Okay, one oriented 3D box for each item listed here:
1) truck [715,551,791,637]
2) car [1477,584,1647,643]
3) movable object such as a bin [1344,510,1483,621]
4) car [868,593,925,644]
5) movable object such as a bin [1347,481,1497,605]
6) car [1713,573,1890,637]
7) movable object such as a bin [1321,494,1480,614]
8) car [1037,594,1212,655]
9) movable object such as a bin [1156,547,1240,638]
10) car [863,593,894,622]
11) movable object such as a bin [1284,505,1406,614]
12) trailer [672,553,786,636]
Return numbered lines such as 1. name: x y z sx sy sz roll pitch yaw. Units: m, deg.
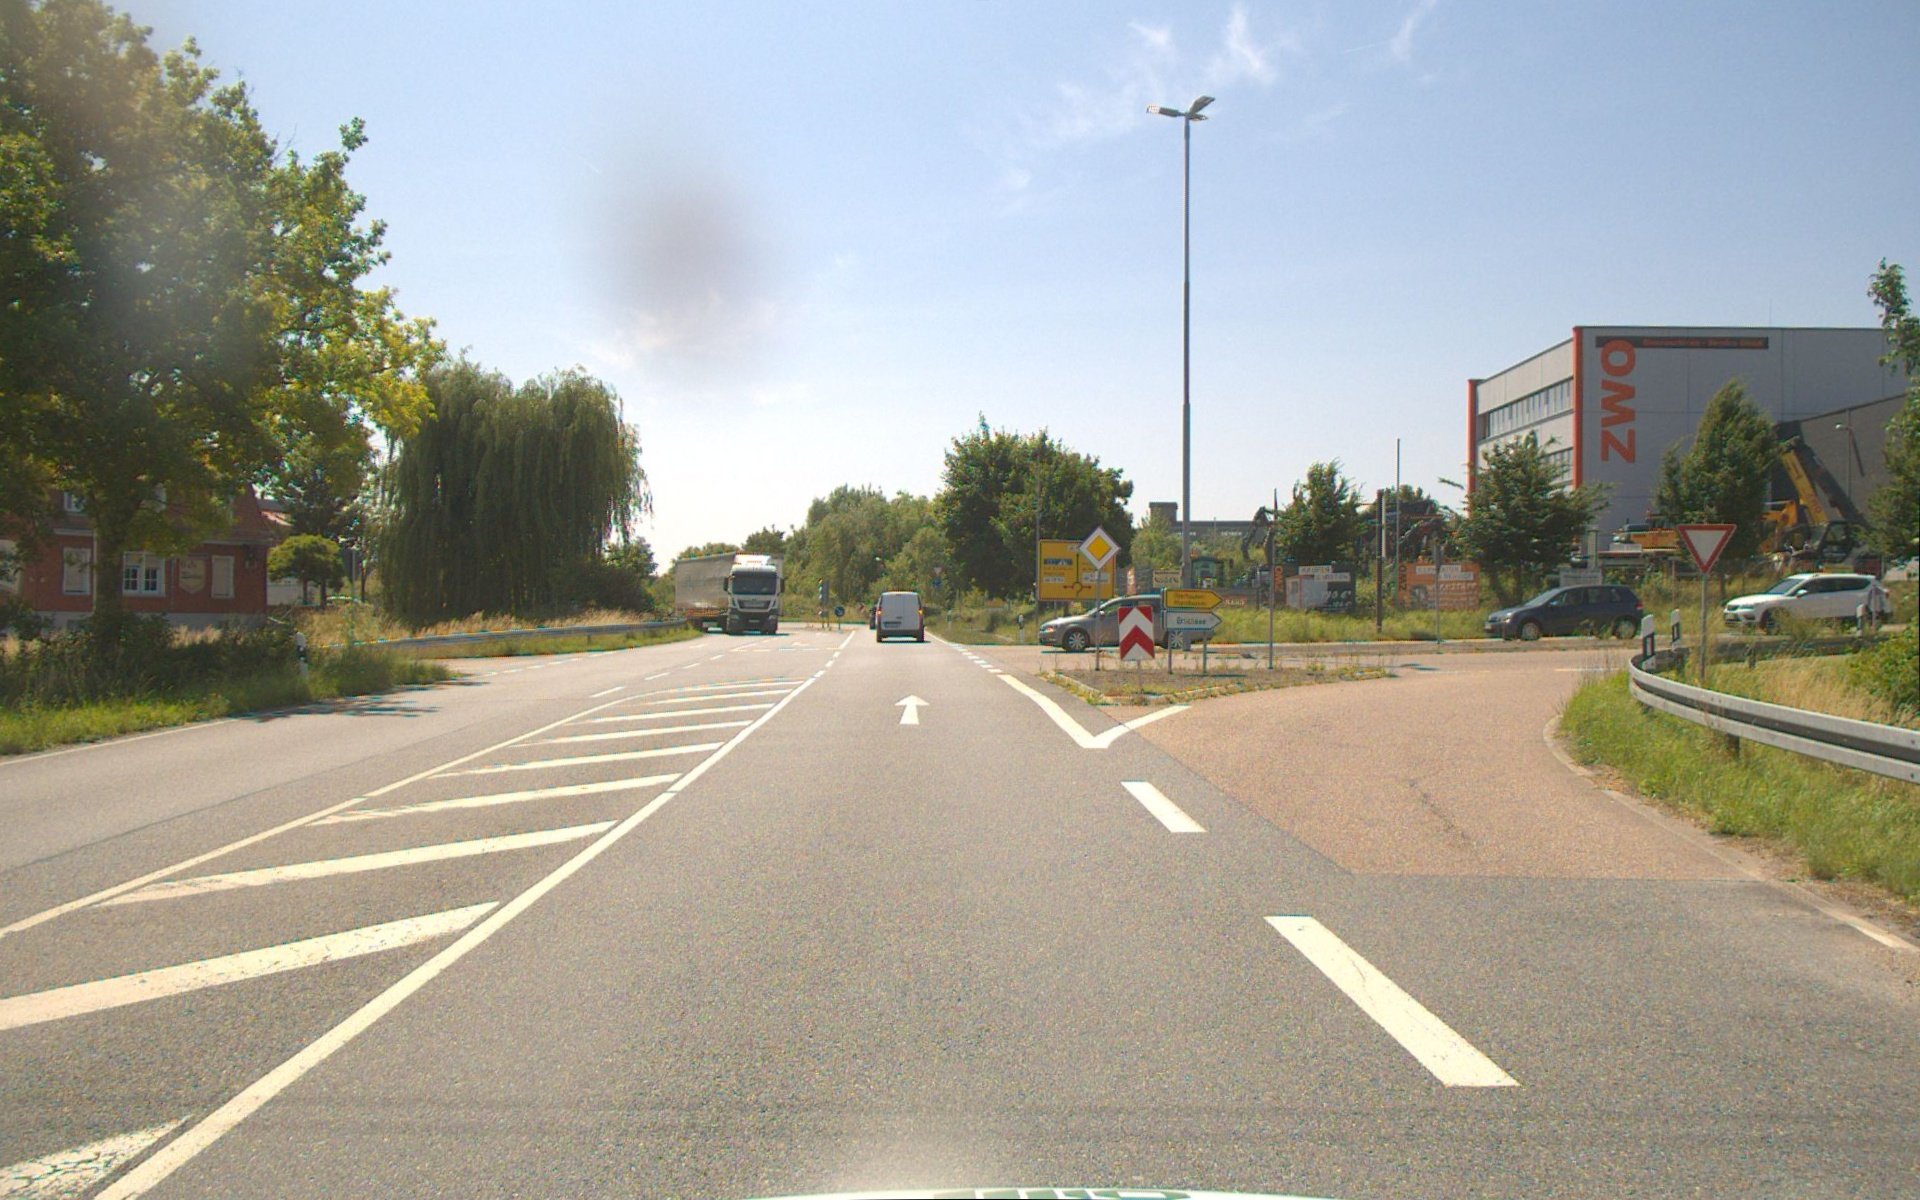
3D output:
1. truck: -10.562 -0.306 83.866 2.745 4.127 6.724 2 0 -16
2. car: 15.986 0.358 44.019 3.917 1.466 1.635 -1 0 0
3. movable object such as a bin: 18.890 -1.411 69.093 4.980 4.350 2.834 2 -2 0
4. car: -2.343 0.676 60.200 1.867 1.763 3.817 1 -1 -6
5. movable object such as a bin: 20.575 -2.487 73.898 5.797 5.195 3.108 2 -2 0
6. car: 23.219 0.123 45.742 4.001 1.649 1.759 -1 1 0
7. movable object such as a bin: 20.631 -2.100 77.793 6.456 5.238 3.806 2 -2 0
8. car: 4.329 0.643 44.086 4.420 1.534 1.914 -1 0 -2
9. movable object such as a bin: 9.232 -0.218 64.501 2.276 3.307 5.098 2 -2 -3
10. car: -4.790 0.404 96.842 1.769 1.583 3.998 0 1 -3
11. movable object such as a bin: 20.143 -2.097 86.739 5.599 5.362 3.221 2 -2 0
12. trailer: -12.753 -0.347 89.748 2.752 4.127 13.409 2 0 -23
